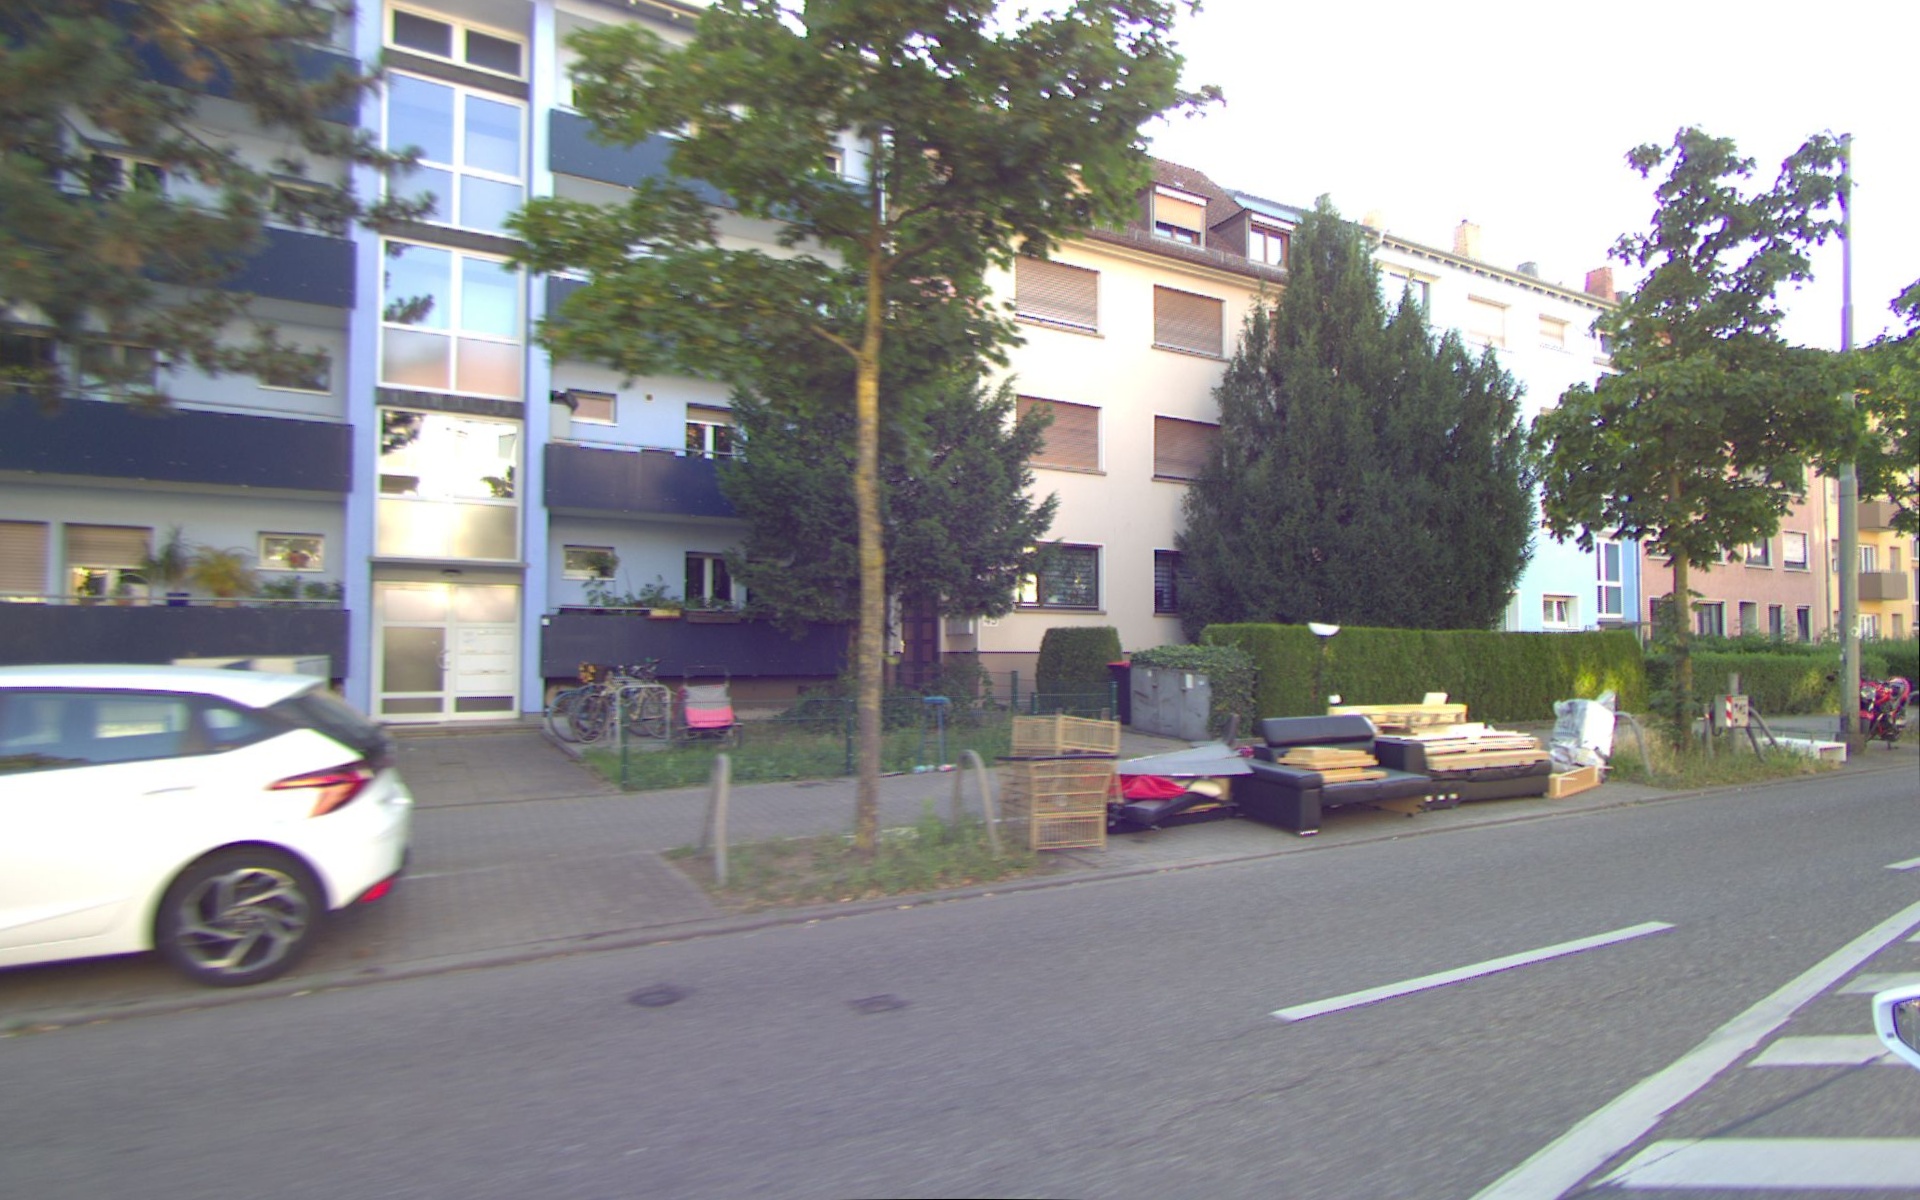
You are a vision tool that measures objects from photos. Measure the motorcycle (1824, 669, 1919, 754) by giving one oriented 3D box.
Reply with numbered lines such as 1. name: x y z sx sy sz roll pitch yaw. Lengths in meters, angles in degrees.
1. motorcycle: 13.979 1.662 15.286 2.149 1.151 0.635 2 -1 -32

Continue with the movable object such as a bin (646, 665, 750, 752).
1. movable object such as a bin: -3.573 1.433 13.635 1.047 1.062 1.456 1 -3 -28

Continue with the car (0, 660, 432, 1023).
1. car: -4.746 1.070 4.846 3.831 1.462 1.674 1 -1 -27

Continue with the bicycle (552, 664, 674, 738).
1. bicycle: -5.430 1.556 15.771 1.727 1.090 0.585 2 -3 -33

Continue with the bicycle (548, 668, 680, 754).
1. bicycle: -4.906 1.547 14.330 0.526 1.110 1.740 -2 -3 42

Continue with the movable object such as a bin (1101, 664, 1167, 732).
1. movable object such as a bin: 2.889 1.617 16.694 0.722 1.075 0.806 1 -3 -31

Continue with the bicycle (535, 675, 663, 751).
1. bicycle: -5.283 1.631 14.780 0.497 1.002 1.740 -2 -3 42
